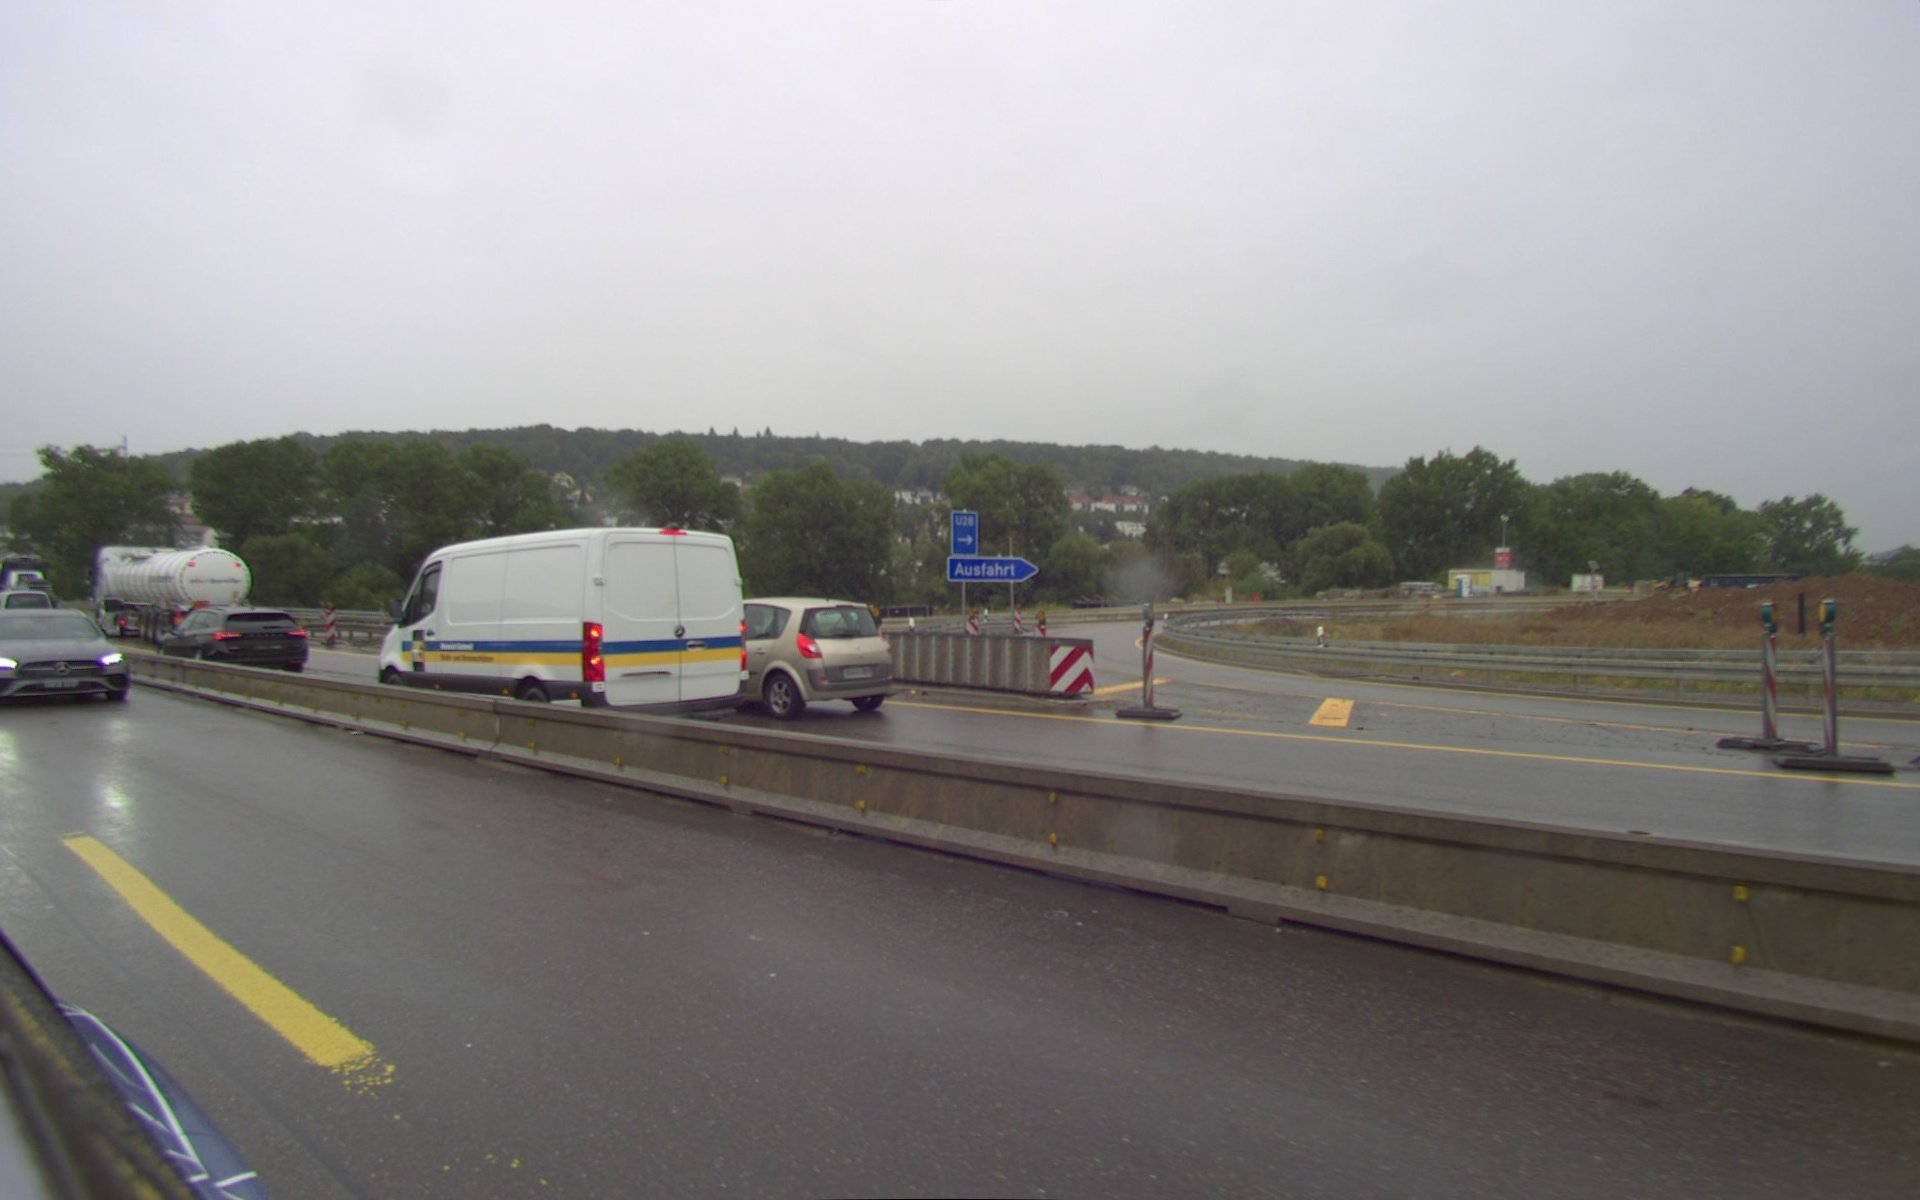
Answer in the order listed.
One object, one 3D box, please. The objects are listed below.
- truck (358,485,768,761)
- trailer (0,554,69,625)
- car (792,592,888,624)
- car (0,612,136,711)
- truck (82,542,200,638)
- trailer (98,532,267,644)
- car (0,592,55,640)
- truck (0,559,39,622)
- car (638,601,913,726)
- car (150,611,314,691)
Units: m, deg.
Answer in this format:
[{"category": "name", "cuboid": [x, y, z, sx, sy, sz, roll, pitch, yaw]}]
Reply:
[{"category": "truck", "cuboid": [-5.036, 0.238, 12.232, 5.957, 2.595, 2.057, -1, -1, 40]}, {"category": "trailer", "cuboid": [-59.561, -0.612, 64.065, 15.351, 4.073, 2.721, 0, 0, 41]}, {"category": "car", "cuboid": [-6.646, 0.409, 56.252, 4.959, 1.713, 1.856, 0, 0, -30]}, {"category": "car", "cuboid": [-15.496, 0.965, 16.962, 4.482, 1.449, 1.926, -2, -1, 41]}, {"category": "truck", "cuboid": [-34.003, -0.394, 41.939, 6.590, 3.705, 2.594, 0, 0, 40]}, {"category": "trailer", "cuboid": [-29.575, -0.396, 38.187, 11.995, 3.705, 2.594, 0, 0, 40]}, {"category": "car", "cuboid": [-37.784, 0.612, 40.447, 4.160, 1.813, 1.847, 0, 0, 40]}, {"category": "truck", "cuboid": [-64.689, -0.633, 68.561, 6.145, 4.093, 2.721, 0, 0, 41]}, {"category": "car", "cuboid": [-2.744, 0.813, 14.561, 3.997, 1.558, 1.769, -1, -1, 40]}, {"category": "car", "cuboid": [-15.518, 1.003, 21.479, 4.675, 1.516, 1.754, -1, -1, 40]}]
